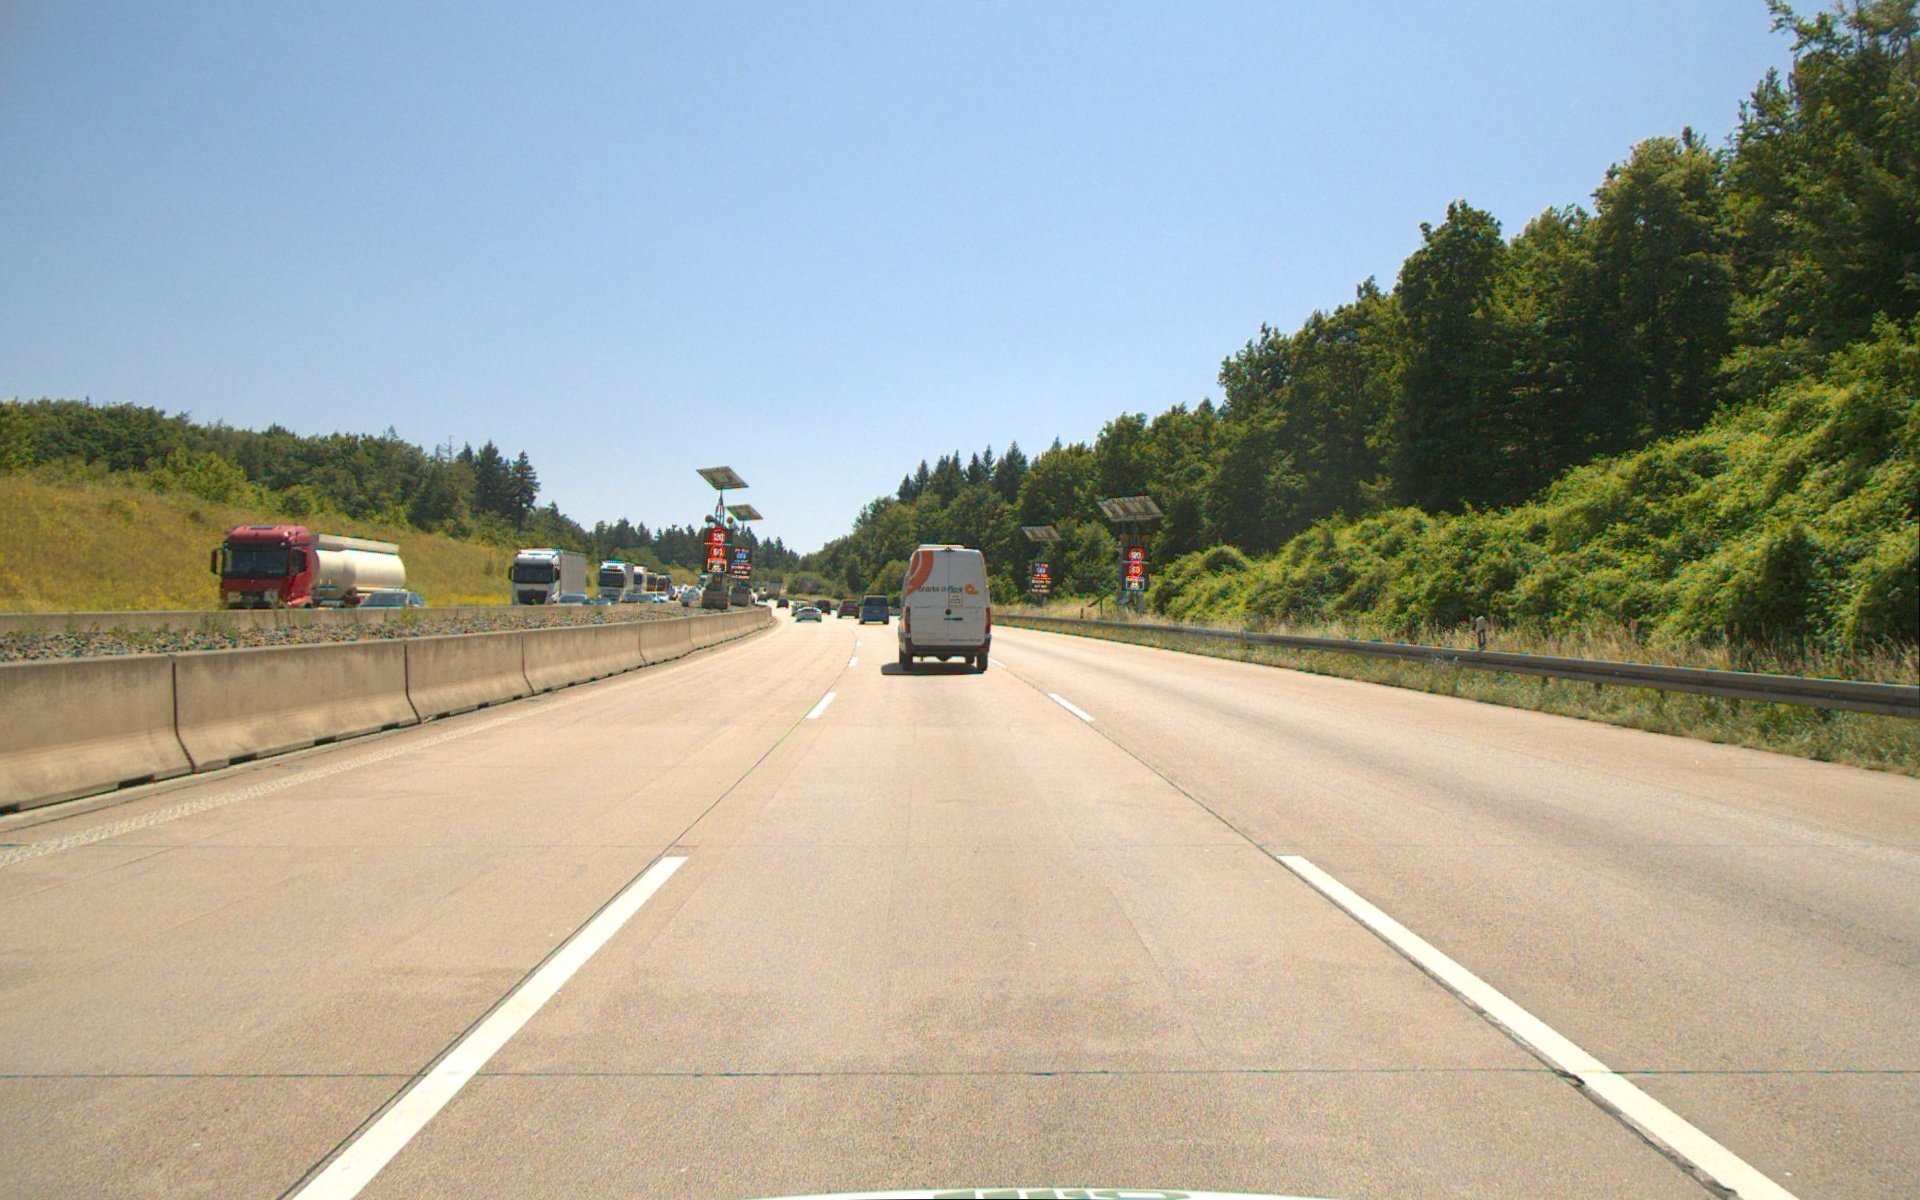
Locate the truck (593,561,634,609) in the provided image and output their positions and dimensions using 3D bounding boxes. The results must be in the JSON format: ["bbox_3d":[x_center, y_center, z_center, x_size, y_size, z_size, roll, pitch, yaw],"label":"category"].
[{"bbox_3d":[-32.449,-1.360,155.091,2.877,4.241,6.220,3,-1,-6],"label":"truck"}]

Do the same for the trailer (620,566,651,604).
[{"bbox_3d":[-38.145,-1.779,194.623,2.878,4.241,6.878,3,-1,-8],"label":"trailer"}]

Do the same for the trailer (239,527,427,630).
[{"bbox_3d":[-22.652,-0.673,60.643,2.875,3.271,11.823,3,-1,-3],"label":"trailer"}]

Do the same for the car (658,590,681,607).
[{"bbox_3d":[-29.722,-0.106,169.358,1.954,1.713,3.996,0,0,-5],"label":"car"}]

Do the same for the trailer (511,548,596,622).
[{"bbox_3d":[-25.564,-0.843,104.792,2.876,4.241,14.372,3,-1,-5],"label":"trailer"}]

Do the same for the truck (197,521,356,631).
[{"bbox_3d":[-22.257,-0.718,54.194,2.875,3.271,5.901,3,-1,-4],"label":"truck"}]

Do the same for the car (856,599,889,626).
[{"bbox_3d":[-5.940,0.844,111.921,1.955,1.713,3.995,3,-1,-5],"label":"car"}]

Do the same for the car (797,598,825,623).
[{"bbox_3d":[-10.897,0.785,120.754,1.955,1.713,3.995,3,-1,-5],"label":"car"}]

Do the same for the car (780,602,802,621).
[{"bbox_3d":[-16.202,1.118,158.471,1.955,1.713,3.995,3,-1,-5],"label":"car"}]

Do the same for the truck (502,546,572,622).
[{"bbox_3d":[-24.954,-0.886,97.755,2.876,4.241,5.754,3,-1,-5],"label":"truck"}]

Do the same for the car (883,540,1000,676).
[{"bbox_3d":[-0.517,0.147,38.190,2.183,2.894,5.448,1,0,-6],"label":"car"}]

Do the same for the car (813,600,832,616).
[{"bbox_3d":[-15.149,0.905,182.409,1.955,1.713,3.995,3,-1,-5],"label":"car"}]

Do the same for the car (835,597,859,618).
[{"bbox_3d":[-9.976,0.635,146.179,1.955,1.713,3.995,3,-1,-5],"label":"car"}]
